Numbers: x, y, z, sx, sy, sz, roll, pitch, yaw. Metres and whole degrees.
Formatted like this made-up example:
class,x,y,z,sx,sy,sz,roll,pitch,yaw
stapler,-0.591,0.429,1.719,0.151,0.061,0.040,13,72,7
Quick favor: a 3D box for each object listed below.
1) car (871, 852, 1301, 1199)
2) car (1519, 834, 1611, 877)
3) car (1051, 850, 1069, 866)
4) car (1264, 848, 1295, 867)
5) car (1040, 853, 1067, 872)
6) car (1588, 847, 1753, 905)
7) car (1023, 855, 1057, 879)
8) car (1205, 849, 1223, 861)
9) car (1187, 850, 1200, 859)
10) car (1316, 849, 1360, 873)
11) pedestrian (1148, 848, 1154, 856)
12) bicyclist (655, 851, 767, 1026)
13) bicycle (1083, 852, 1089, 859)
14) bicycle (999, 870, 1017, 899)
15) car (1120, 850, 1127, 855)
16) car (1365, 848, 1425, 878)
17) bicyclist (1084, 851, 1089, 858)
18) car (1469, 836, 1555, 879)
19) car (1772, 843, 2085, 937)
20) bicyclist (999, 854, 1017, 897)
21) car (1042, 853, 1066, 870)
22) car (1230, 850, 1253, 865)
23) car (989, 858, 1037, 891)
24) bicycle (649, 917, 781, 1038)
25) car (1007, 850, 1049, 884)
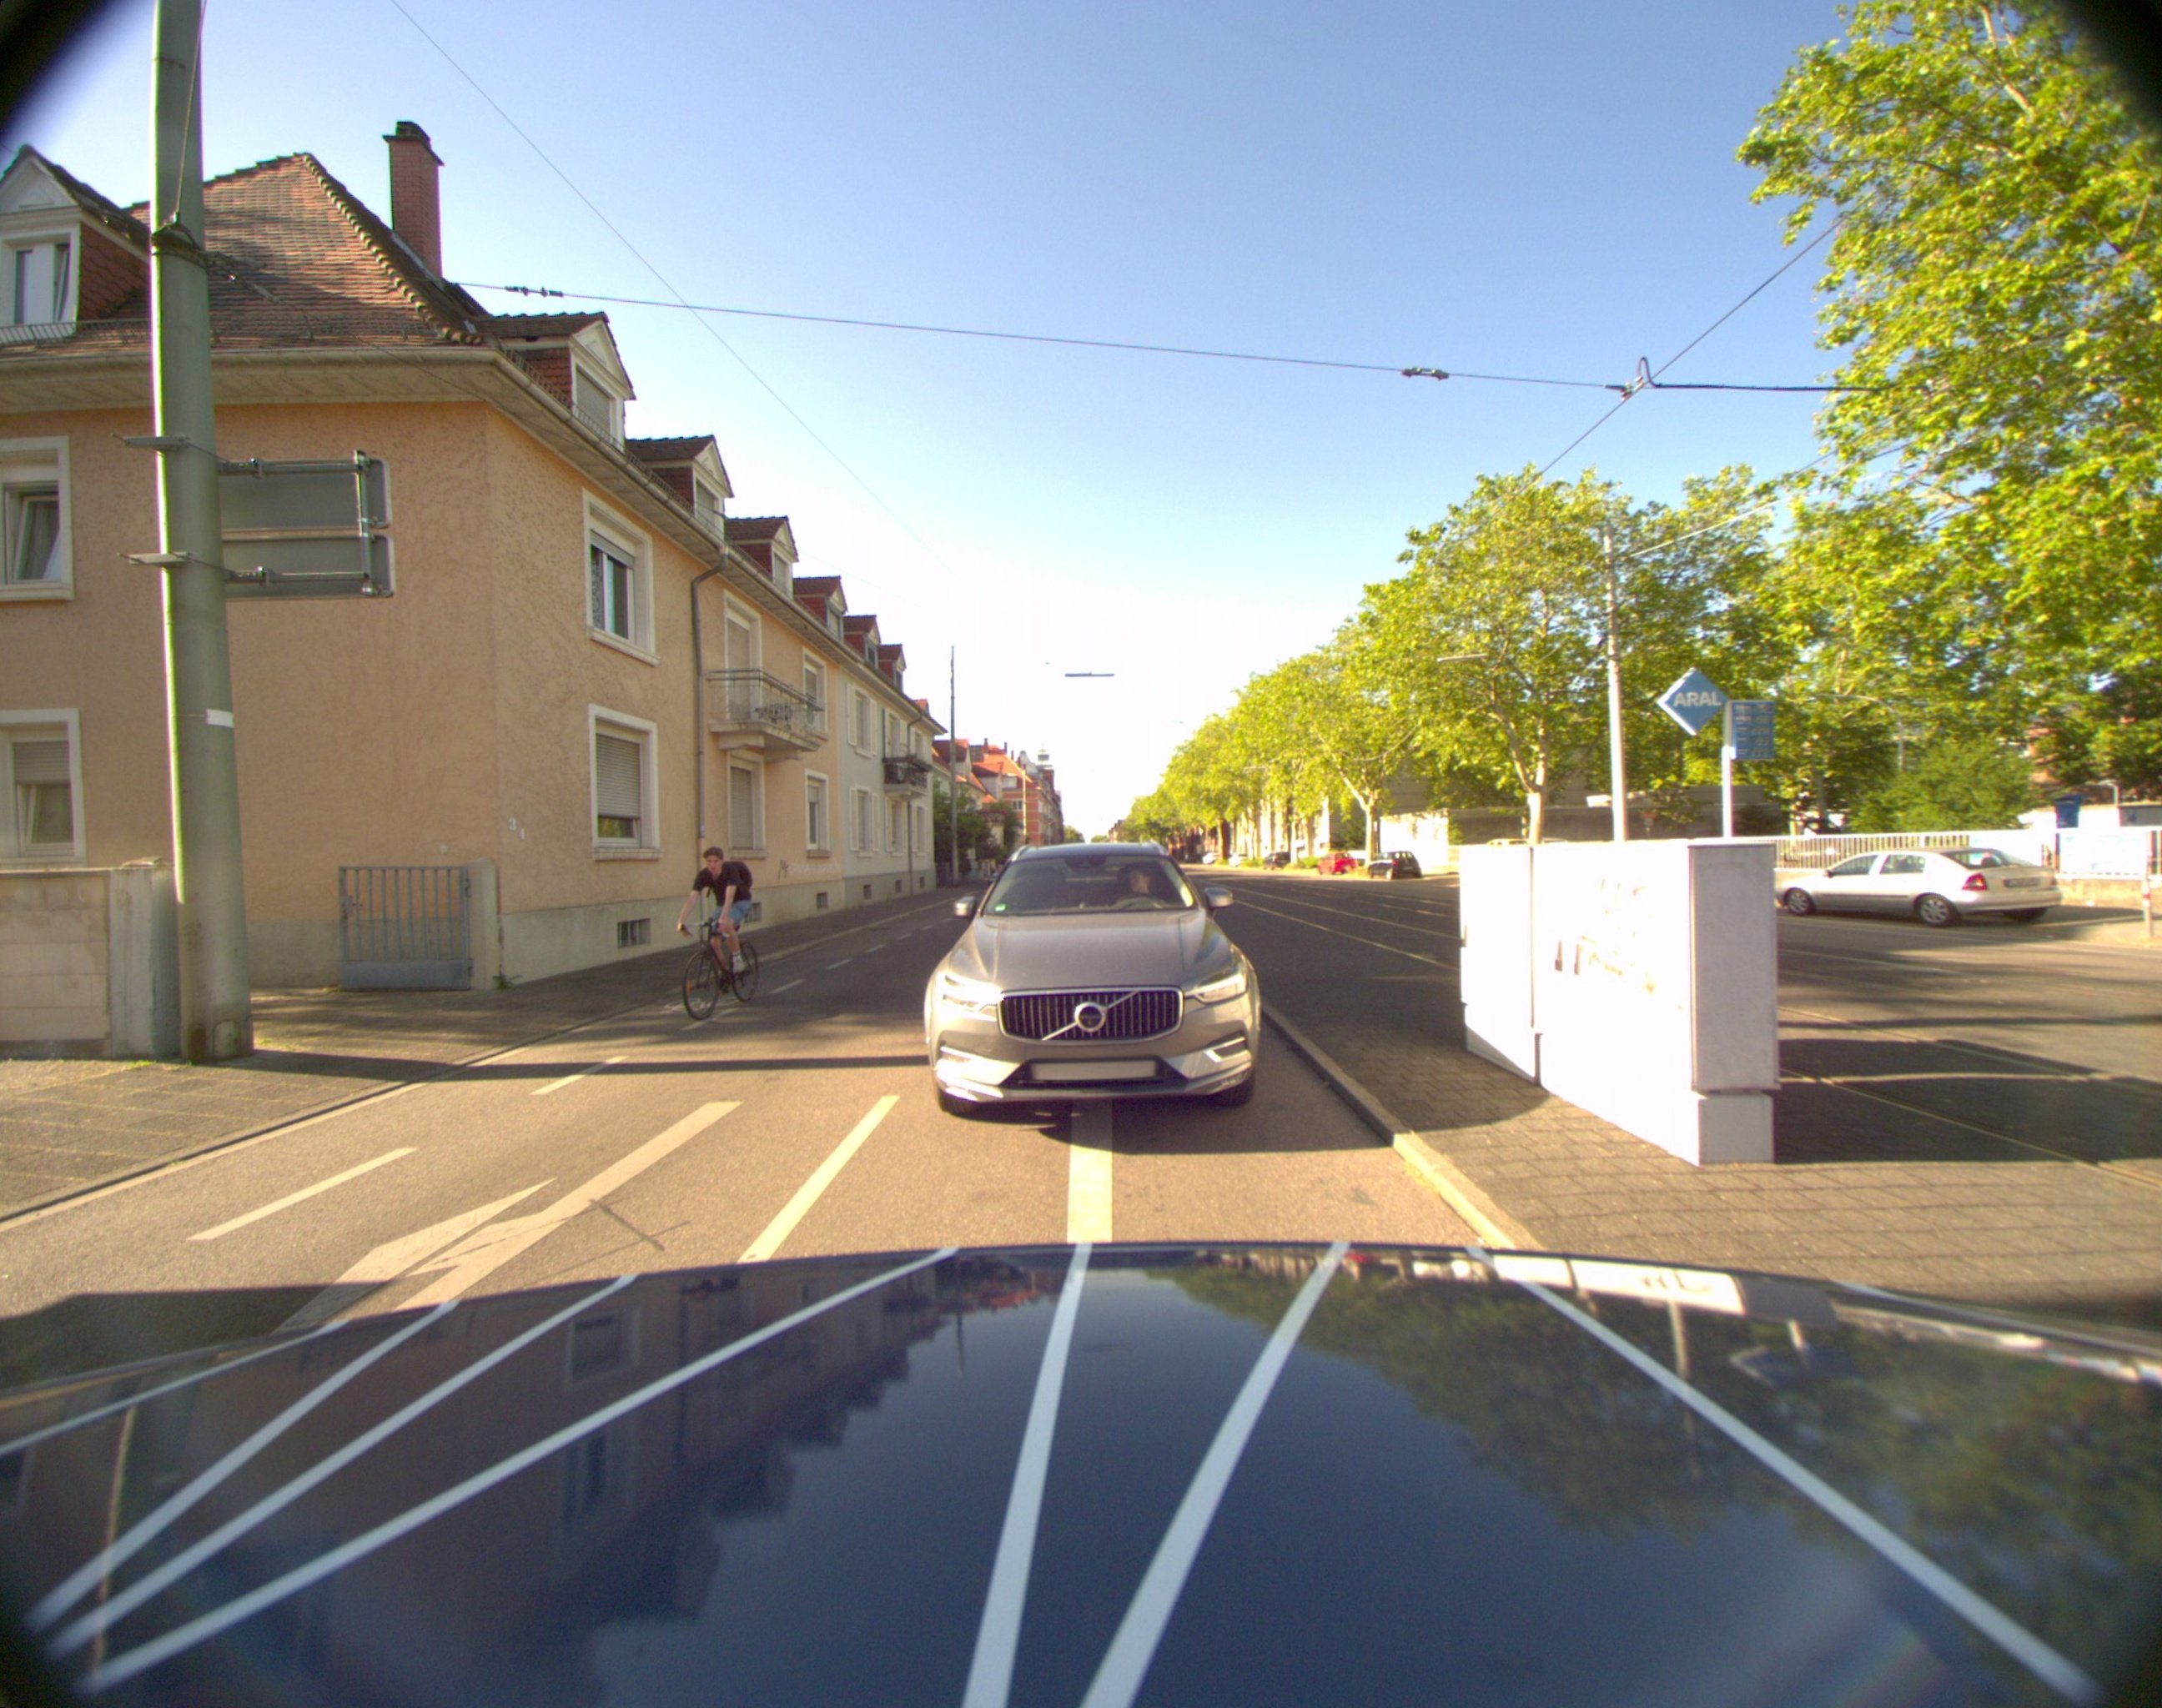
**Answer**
class,x,y,z,sx,sy,sz,roll,pitch,yaw
car,0.055,0.808,5.940,1.998,1.609,4.697,-1,0,1
car,24.159,0.077,38.108,1.999,2.002,3.999,-1,0,-1
car,-2.324,0.418,85.459,1.867,1.653,4.078,-1,0,1
car,17.173,0.287,65.924,1.758,1.536,3.858,-3,0,3
car,-2.132,0.655,60.066,1.867,1.399,4.078,-1,0,1
car,16.478,0.565,21.523,1.745,1.389,3.858,-4,0,3
car,-2.578,0.803,48.507,1.867,1.399,4.078,-1,0,1
car,17.673,0.155,100.945,1.758,1.475,3.858,-3,0,3
car,18.509,0.048,125.302,1.758,1.475,3.858,-3,0,3
car,16.904,0.445,50.192,1.717,1.421,3.858,-3,0,3
pedestrian,19.597,-0.560,213.145,1.686,2.002,1.761,-1,1,1
bicyclist,-3.917,0.847,8.123,0.561,1.721,1.084,-2,1,1
bicycle,1.075,0.334,158.228,1.054,1.262,3.914,-1,0,1
bicycle,-2.813,1.166,29.472,0.550,1.056,1.794,-1,1,-1
car,14.074,-0.621,251.448,1.998,1.685,4.000,-1,0,1
car,16.891,0.453,41.050,1.758,1.449,3.858,-3,0,3
bicyclist,1.070,0.130,158.118,1.054,1.496,1.250,-1,1,1
car,21.811,0.165,38.649,1.999,2.002,3.999,-1,0,-1
car,16.238,0.605,14.916,1.847,1.477,3.858,-4,0,2
bicyclist,-2.823,0.813,29.422,0.562,1.607,1.016,-1,1,0
car,-2.353,0.608,66.370,1.867,1.399,4.078,-1,0,1
car,17.579,0.348,83.351,1.758,1.475,3.858,-3,0,3
car,-3.237,0.954,37.085,1.867,1.399,4.424,-1,0,1
bicycle,-3.889,1.273,8.237,0.533,1.011,1.758,-1,0,1
car,-2.914,0.691,42.839,1.867,1.778,5.297,-1,0,1
